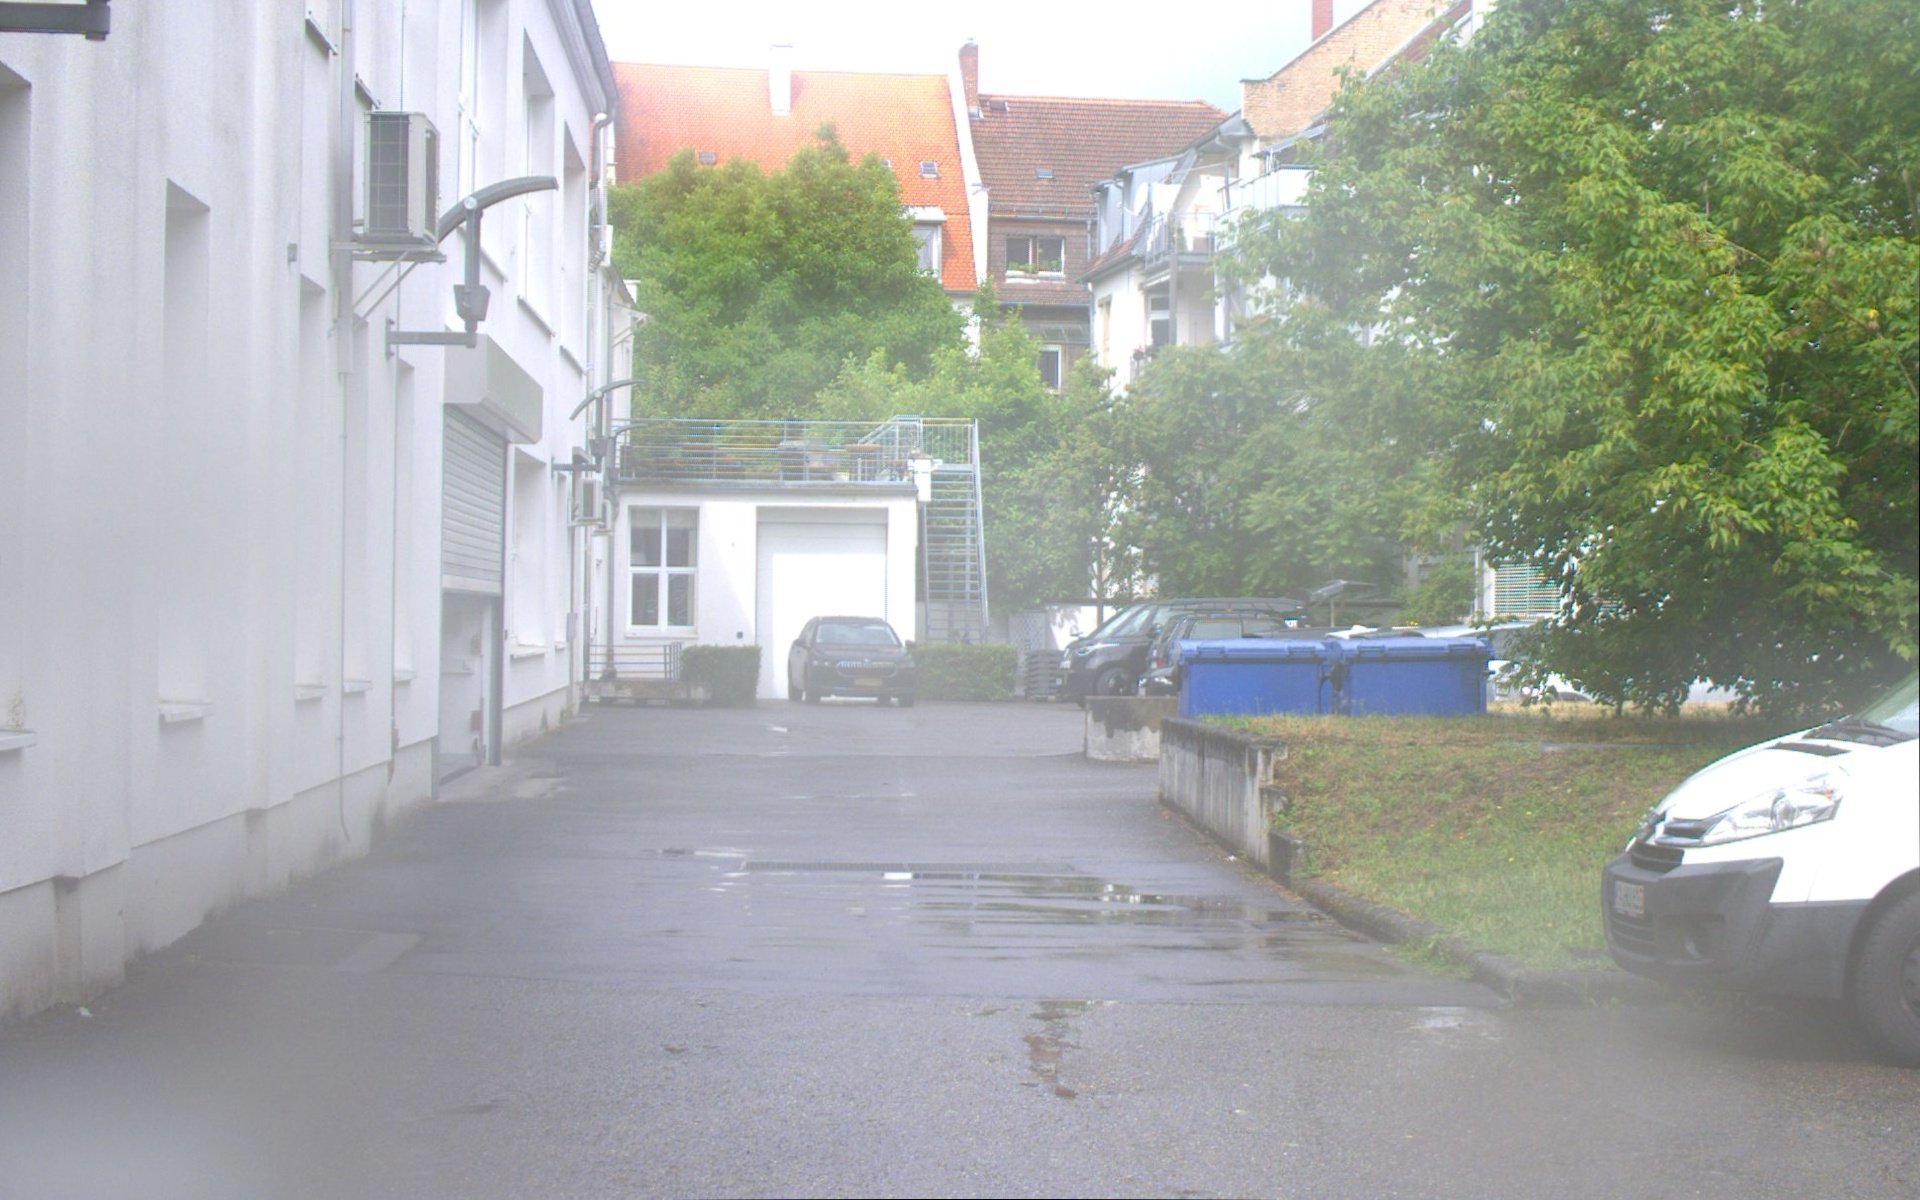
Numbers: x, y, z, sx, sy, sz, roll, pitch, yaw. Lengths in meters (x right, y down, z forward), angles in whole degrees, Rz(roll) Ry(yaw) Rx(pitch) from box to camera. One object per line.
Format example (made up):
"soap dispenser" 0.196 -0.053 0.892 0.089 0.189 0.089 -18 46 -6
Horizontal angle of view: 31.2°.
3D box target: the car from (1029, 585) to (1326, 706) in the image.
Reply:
"car" 3.699 0.748 58.900 4.634 1.996 2.226 0 0 -13

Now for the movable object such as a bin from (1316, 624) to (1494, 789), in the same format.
"movable object such as a bin" 3.649 0.862 28.323 1.293 1.332 1.197 0 0 -1

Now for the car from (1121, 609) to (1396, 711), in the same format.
"car" 4.559 0.913 52.831 3.908 1.508 1.752 0 -1 -8

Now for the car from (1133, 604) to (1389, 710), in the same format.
"car" 4.886 0.923 56.142 3.908 1.682 1.817 0 -1 -5

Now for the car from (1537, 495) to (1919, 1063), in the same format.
"car" 4.814 0.691 12.874 4.873 1.919 2.099 2 -1 -1

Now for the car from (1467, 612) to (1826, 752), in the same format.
"car" 7.337 0.869 36.933 3.414 1.422 1.688 -1 -1 -6

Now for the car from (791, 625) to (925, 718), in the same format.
"car" -1.760 1.183 58.136 1.979 1.439 4.001 1 0 -5

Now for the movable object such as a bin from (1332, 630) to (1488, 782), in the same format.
"movable object such as a bin" 3.923 0.914 30.074 1.185 1.300 1.107 0 0 -2

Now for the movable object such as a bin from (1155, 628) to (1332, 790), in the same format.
"movable object such as a bin" 2.309 0.883 28.200 1.337 1.287 1.095 0 0 -1

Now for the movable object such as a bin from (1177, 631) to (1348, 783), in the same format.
"movable object such as a bin" 2.625 0.921 29.970 1.372 1.300 1.083 0 0 -1

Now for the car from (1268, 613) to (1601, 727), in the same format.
"car" 6.186 0.902 45.021 3.986 1.453 1.773 0 0 -8
